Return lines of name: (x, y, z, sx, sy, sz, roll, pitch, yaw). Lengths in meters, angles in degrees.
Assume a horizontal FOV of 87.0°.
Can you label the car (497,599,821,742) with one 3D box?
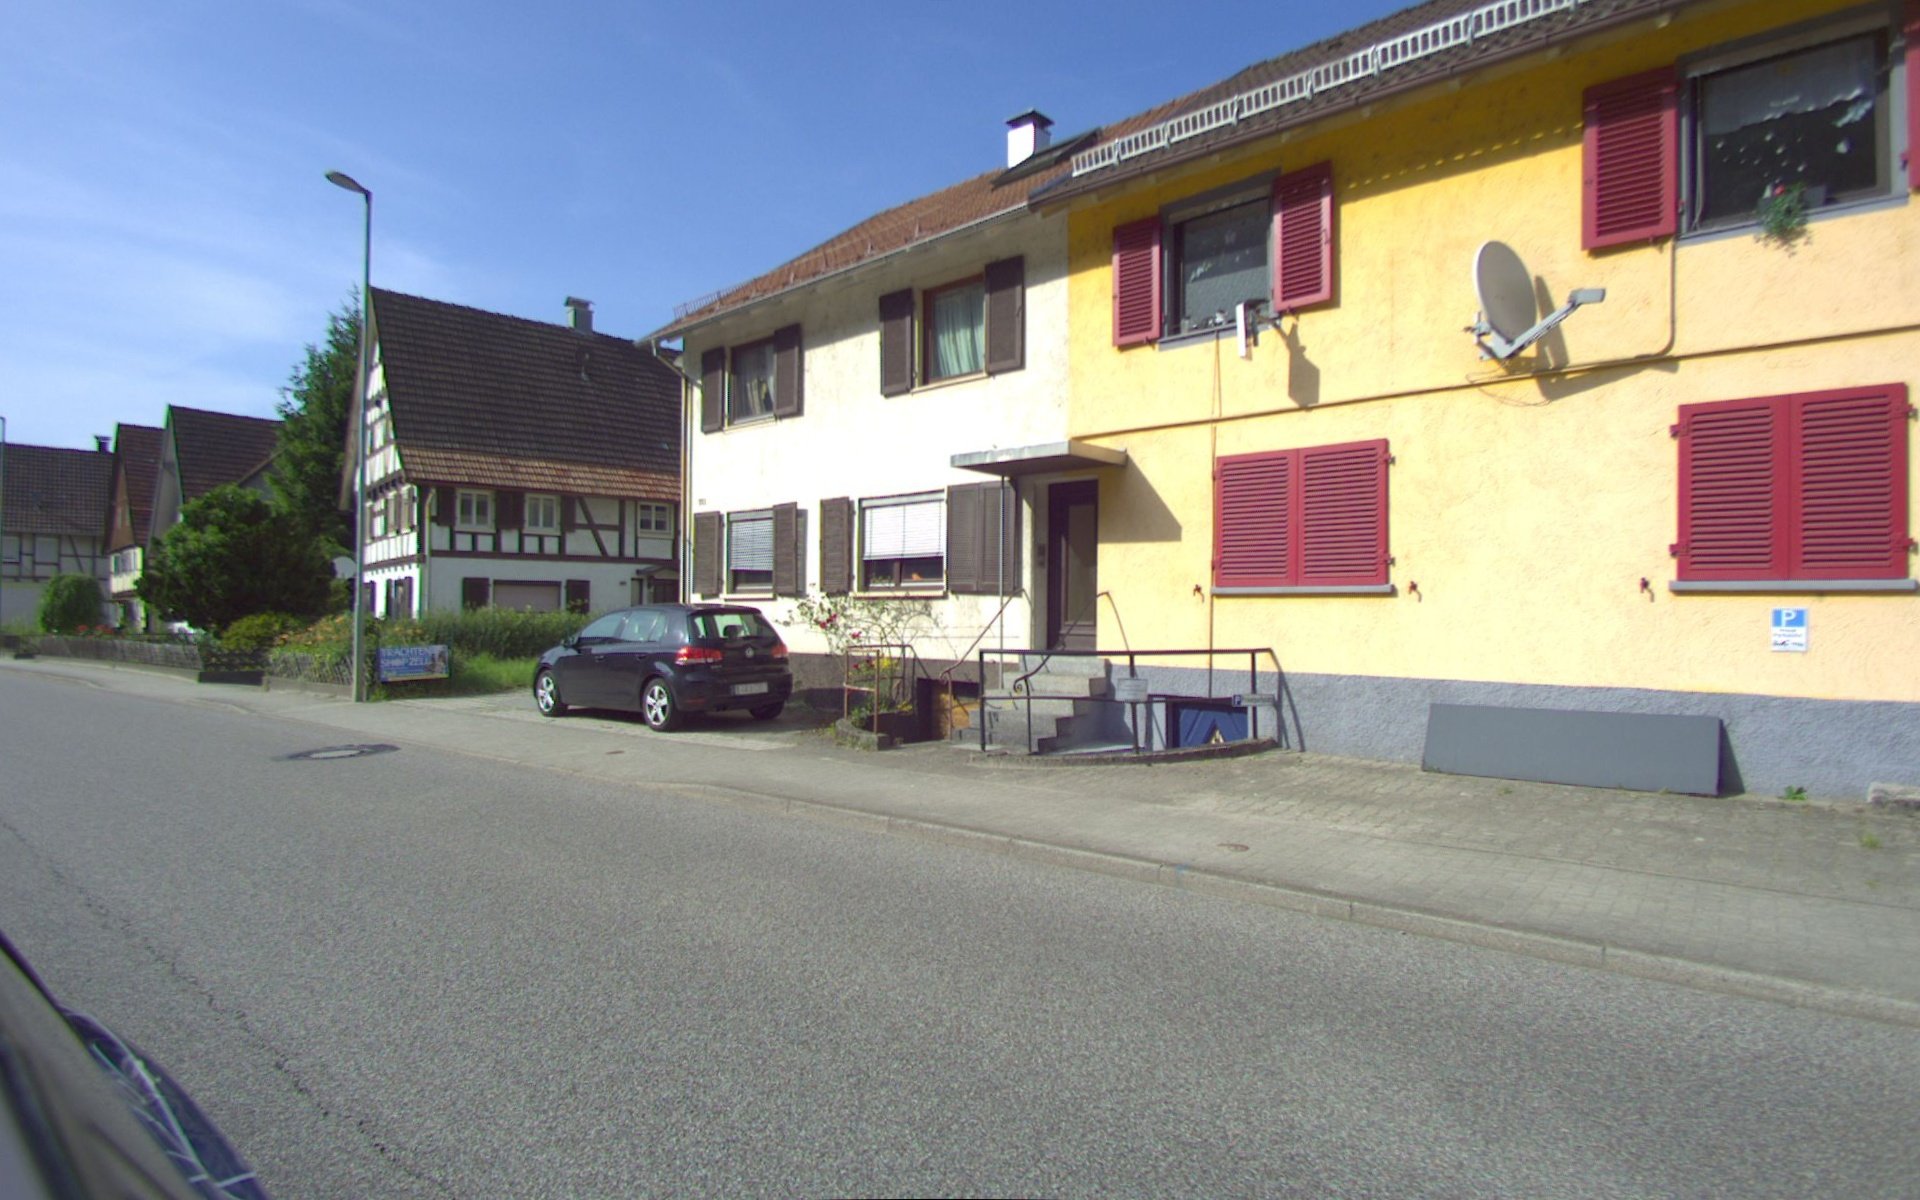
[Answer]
car: (-3.945, 0.793, 12.950, 4.230, 1.530, 1.866, -1, -1, 38)
